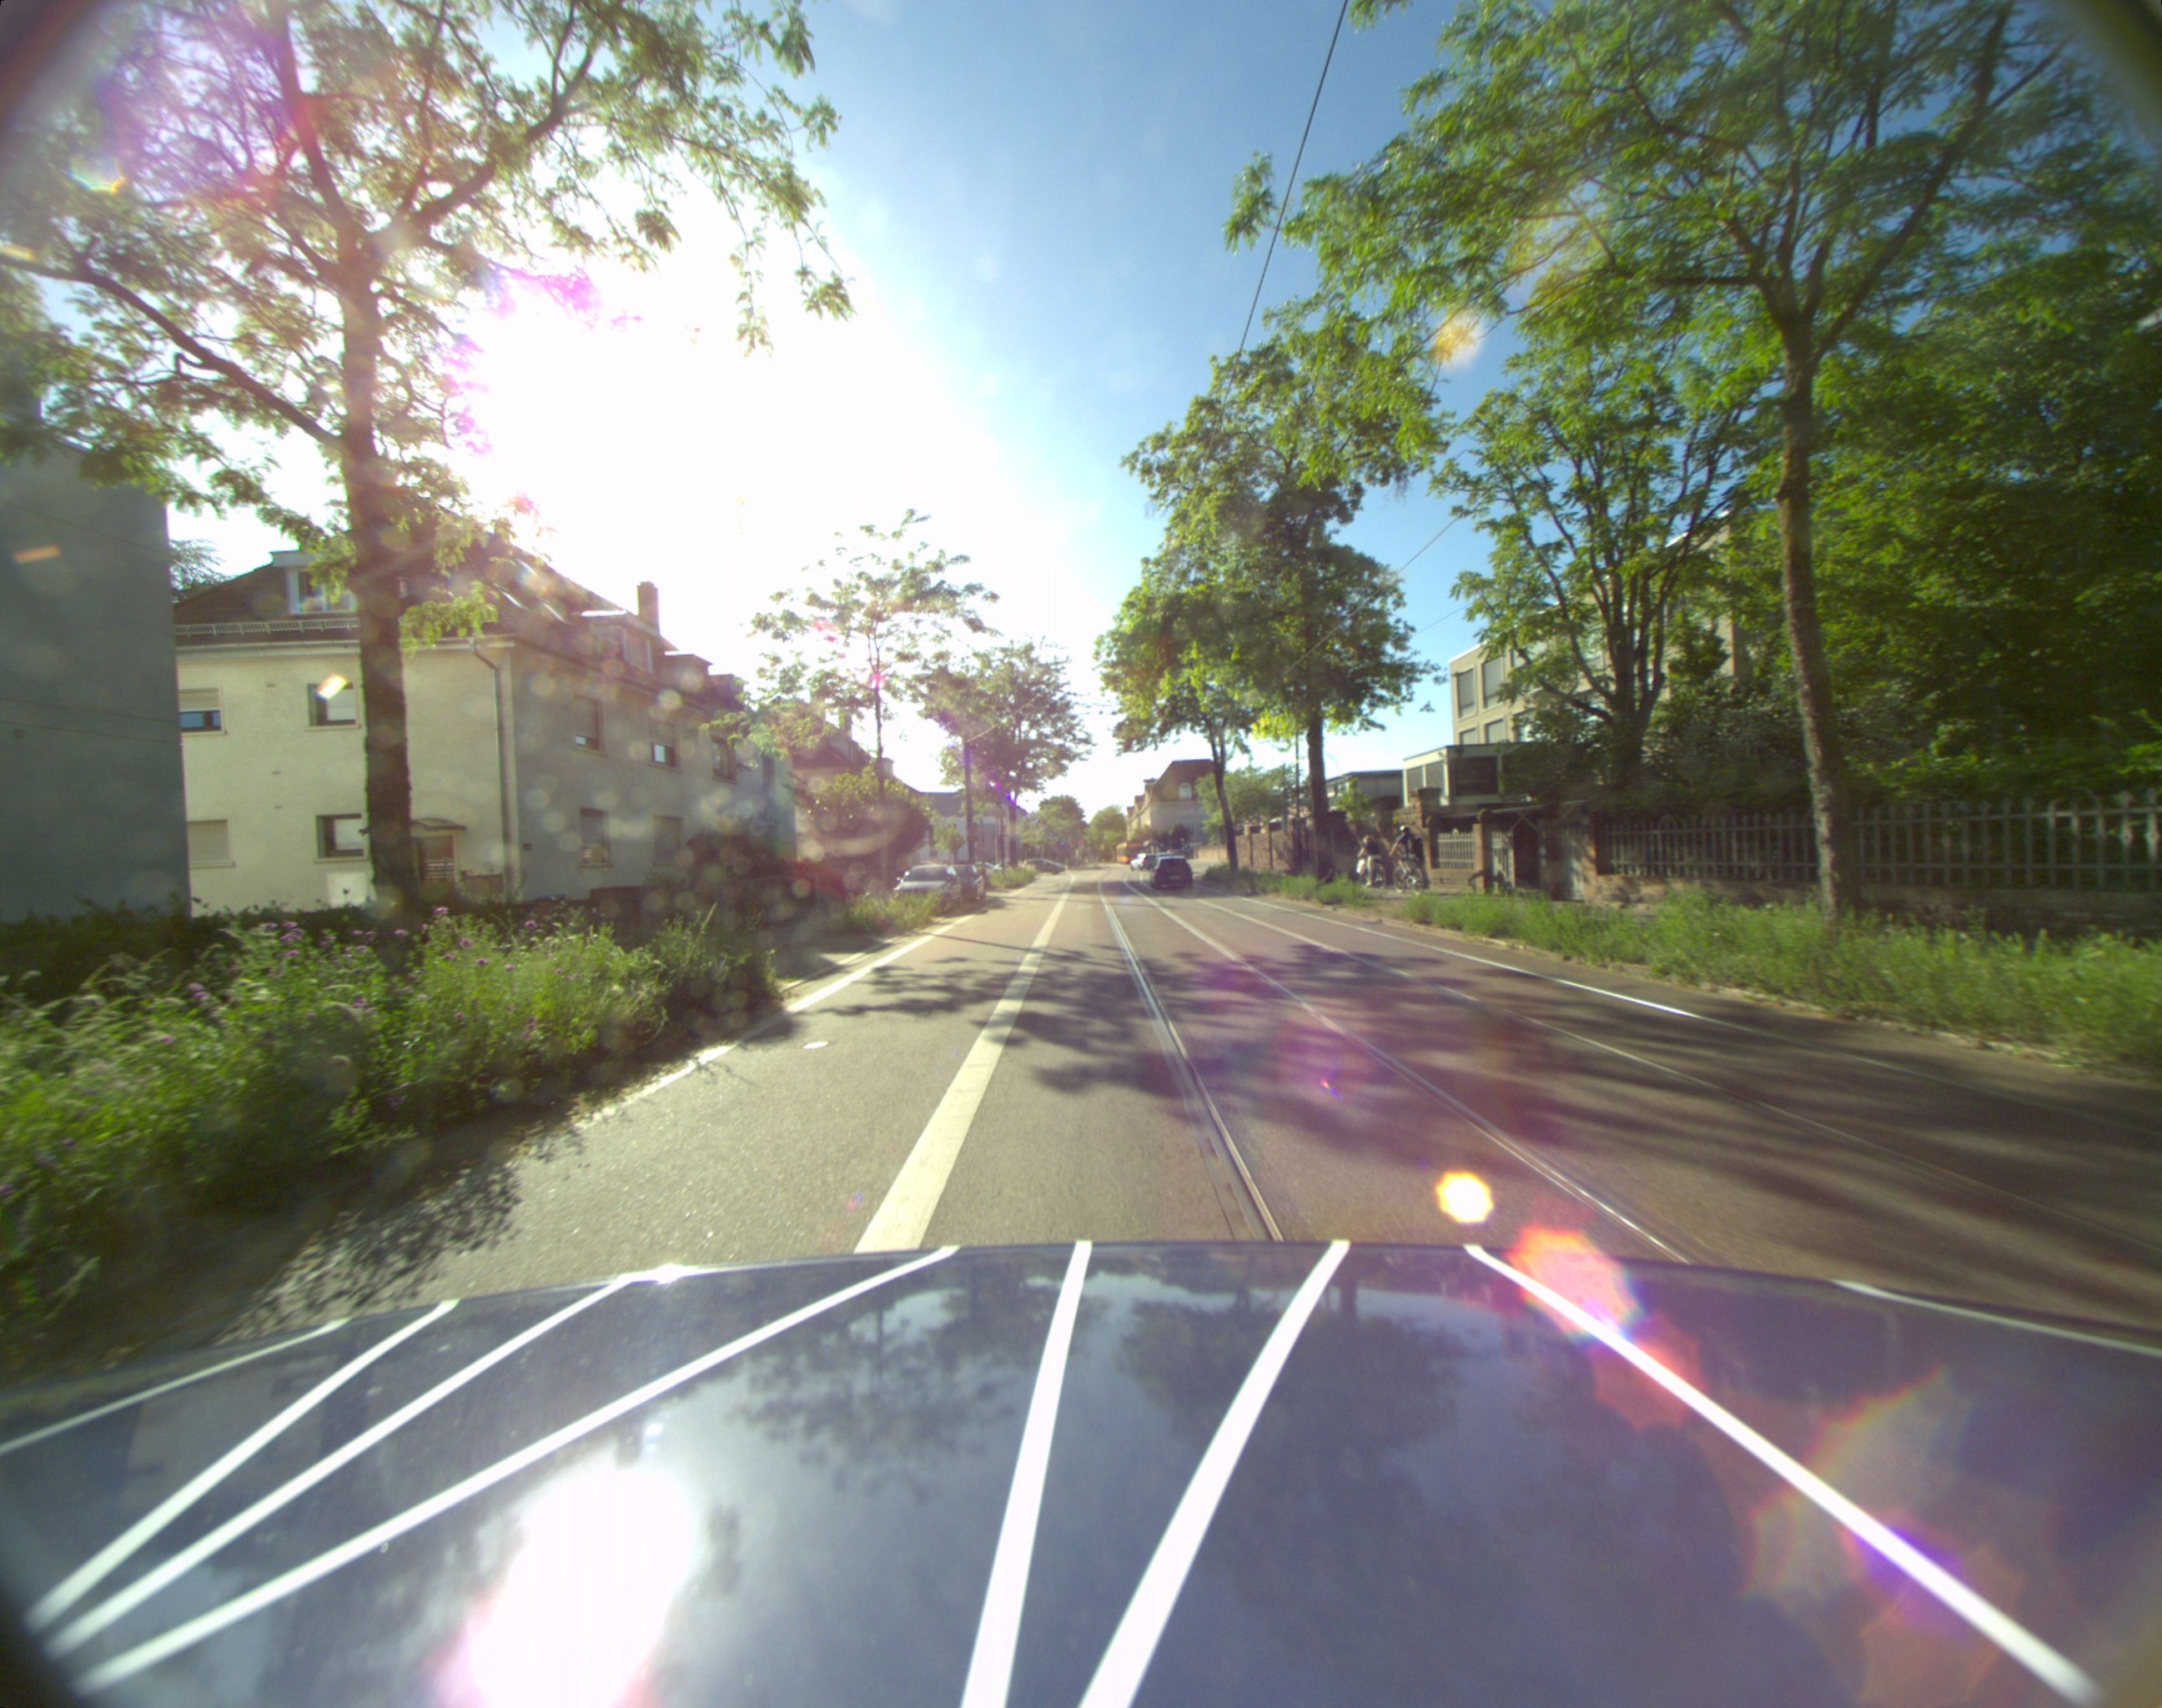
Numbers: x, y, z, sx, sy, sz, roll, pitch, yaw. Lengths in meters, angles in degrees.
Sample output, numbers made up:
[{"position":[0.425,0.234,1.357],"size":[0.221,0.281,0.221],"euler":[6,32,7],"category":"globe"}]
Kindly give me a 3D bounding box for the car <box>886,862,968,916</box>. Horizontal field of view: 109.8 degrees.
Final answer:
[{"position":[-4.847,1.050,24.475],"size":[1.753,1.486,3.996],"euler":[-2,0,0],"category":"car"}]

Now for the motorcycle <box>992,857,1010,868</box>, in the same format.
[{"position":[-9.517,1.000,90.327],"size":[2.004,1.151,0.861],"euler":[-3,1,-6],"category":"motorcycle"}]

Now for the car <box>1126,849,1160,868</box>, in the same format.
[{"position":[5.387,0.362,66.382],"size":[2.000,1.515,4.576],"euler":[-3,0,-8],"category":"car"}]

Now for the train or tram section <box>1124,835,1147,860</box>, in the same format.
[{"position":[7.966,-0.947,111.723],"size":[2.811,3.439,6.668],"euler":[-3,0,1],"category":"train or tram section"}]

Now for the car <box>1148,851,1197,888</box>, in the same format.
[{"position":[4.186,0.675,35.259],"size":[1.753,1.515,4.069],"euler":[-3,0,0],"category":"car"}]

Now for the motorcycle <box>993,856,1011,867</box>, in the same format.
[{"position":[-9.513,0.911,91.816],"size":[2.083,1.267,0.861],"euler":[-3,1,-6],"category":"motorcycle"}]

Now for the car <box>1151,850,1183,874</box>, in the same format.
[{"position":[5.918,0.494,52.784],"size":[1.753,1.515,4.035],"euler":[-3,0,0],"category":"car"}]

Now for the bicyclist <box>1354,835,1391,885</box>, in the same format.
[{"position":[9.191,0.189,24.008],"size":[0.711,1.490,0.956],"euler":[-5,1,1],"category":"bicyclist"}]

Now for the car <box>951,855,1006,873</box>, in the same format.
[{"position":[-9.606,0.919,71.345],"size":[4.610,1.458,1.983],"euler":[-2,2,12],"category":"car"}]

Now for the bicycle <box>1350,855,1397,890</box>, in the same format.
[{"position":[9.221,0.576,24.014],"size":[0.720,0.968,1.888],"euler":[-5,1,1],"category":"bicycle"}]

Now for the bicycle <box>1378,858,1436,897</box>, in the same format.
[{"position":[8.894,0.621,20.822],"size":[0.713,0.955,2.094],"euler":[-3,0,1],"category":"bicycle"}]

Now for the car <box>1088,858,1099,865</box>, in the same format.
[{"position":[2.798,1.588,165.160],"size":[1.743,1.450,3.691],"euler":[-3,0,-8],"category":"car"}]

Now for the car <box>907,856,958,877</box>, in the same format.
[{"position":[-13.537,1.103,69.372],"size":[4.173,1.632,1.982],"euler":[-3,1,-1],"category":"car"}]

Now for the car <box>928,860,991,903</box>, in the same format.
[{"position":[-4.775,1.043,30.458],"size":[1.753,1.486,4.443],"euler":[-2,0,0],"category":"car"}]

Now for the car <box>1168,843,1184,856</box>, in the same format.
[{"position":[14.998,-0.685,120.094],"size":[1.998,1.954,4.934],"euler":[-3,0,1],"category":"car"}]

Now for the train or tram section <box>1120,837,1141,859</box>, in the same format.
[{"position":[8.112,-0.941,125.087],"size":[2.811,3.439,6.668],"euler":[-3,0,1],"category":"train or tram section"}]

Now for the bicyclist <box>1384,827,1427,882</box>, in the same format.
[{"position":[8.866,0.010,20.806],"size":[0.710,1.462,1.041],"euler":[-3,1,1],"category":"bicyclist"}]

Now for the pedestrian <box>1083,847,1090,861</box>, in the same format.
[{"position":[0.710,0.017,99.194],"size":[0.712,1.843,0.729],"euler":[-4,1,2],"category":"pedestrian"}]

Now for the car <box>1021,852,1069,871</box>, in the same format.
[{"position":[-3.304,0.639,69.884],"size":[3.994,1.499,1.983],"euler":[-3,0,10],"category":"car"}]
